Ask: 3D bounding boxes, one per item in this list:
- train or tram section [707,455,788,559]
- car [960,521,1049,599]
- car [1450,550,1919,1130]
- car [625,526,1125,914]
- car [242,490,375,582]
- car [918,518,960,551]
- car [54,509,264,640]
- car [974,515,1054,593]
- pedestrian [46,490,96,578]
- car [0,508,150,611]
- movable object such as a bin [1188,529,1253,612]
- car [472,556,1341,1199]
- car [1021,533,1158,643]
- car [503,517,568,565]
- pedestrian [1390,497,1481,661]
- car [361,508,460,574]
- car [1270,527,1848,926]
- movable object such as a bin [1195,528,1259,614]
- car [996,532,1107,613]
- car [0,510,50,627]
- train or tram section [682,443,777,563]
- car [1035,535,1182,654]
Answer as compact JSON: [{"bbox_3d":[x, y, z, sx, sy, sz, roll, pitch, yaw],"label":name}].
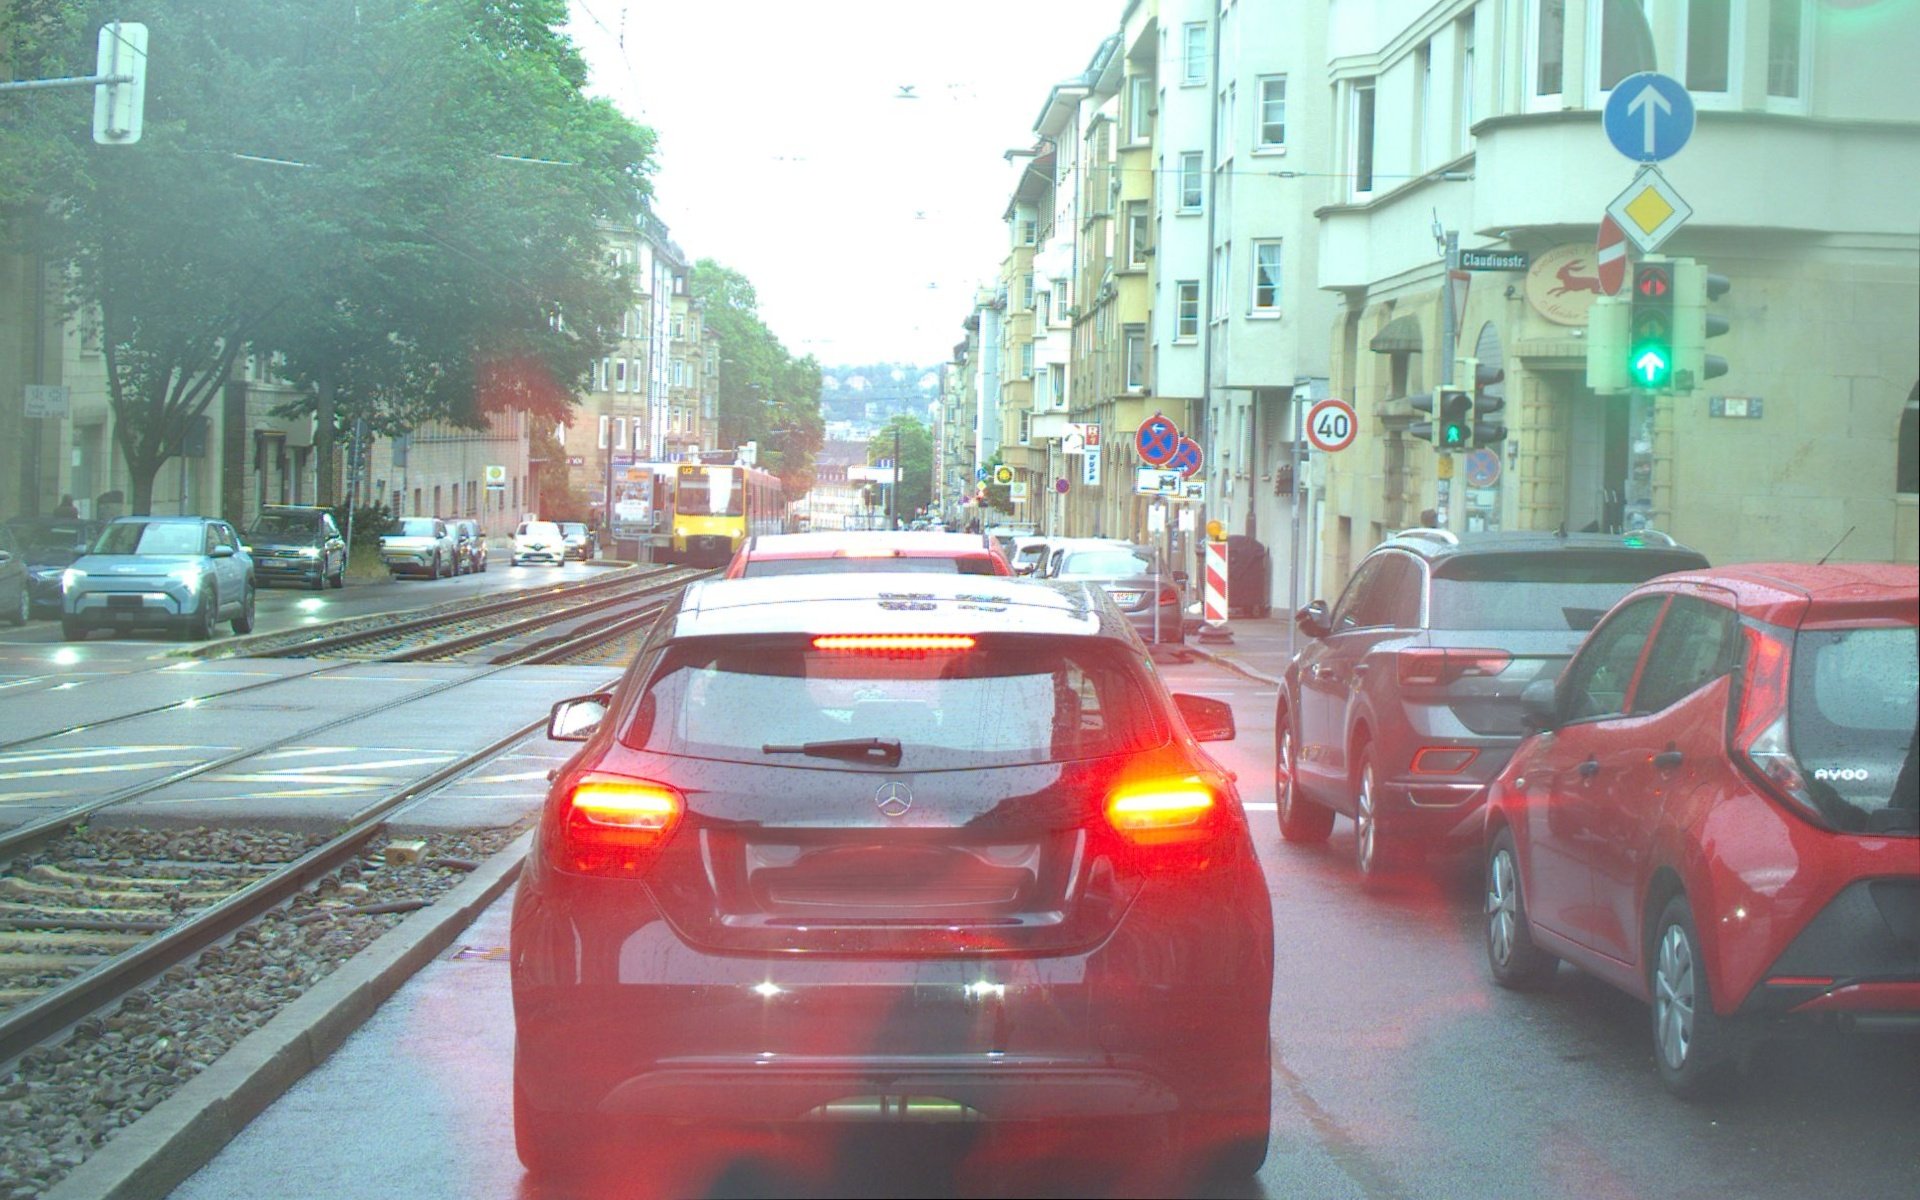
[{"bbox_3d":[-8.709,-3.835,142.240,2.745,4.048,15.663,1,1,-2],"label":"train or tram section"},{"bbox_3d":[0.988,-0.859,74.530,1.841,1.602,4.760,1,1,1],"label":"car"},{"bbox_3d":[2.717,0.604,10.520,1.705,1.448,3.533,2,1,-3],"label":"car"},{"bbox_3d":[-0.370,0.454,16.138,1.993,1.520,4.246,2,1,-1],"label":"car"},{"bbox_3d":[-13.621,-1.365,72.129,1.953,1.736,4.780,4,1,-2],"label":"car"},{"bbox_3d":[-1.028,-3.214,168.732,1.887,1.520,4.245,2,1,1],"label":"car"},{"bbox_3d":[-10.429,-0.338,45.049,1.921,1.612,4.129,1,1,-2],"label":"car"},{"bbox_3d":[1.251,-1.073,80.700,1.778,1.744,4.549,1,1,0],"label":"car"},{"bbox_3d":[-17.030,-1.274,65.886,0.728,1.657,0.771,2,1,-1],"label":"pedestrian"},{"bbox_3d":[-13.465,-0.603,51.256,1.780,1.455,4.979,1,1,-2],"label":"car"},{"bbox_3d":[4.639,-0.524,61.351,1.018,1.463,1.323,1,0,-1],"label":"movable object such as a bin"},{"bbox_3d":[-0.138,0.632,9.297,1.834,1.448,3.902,1,1,-1],"label":"car"},{"bbox_3d":[1.802,-0.188,48.996,1.712,1.463,4.774,1,1,-1],"label":"car"},{"bbox_3d":[-13.879,-1.915,112.611,1.780,1.497,4.063,1,1,-2],"label":"car"},{"bbox_3d":[4.954,-0.224,35.821,0.804,1.681,0.754,1,0,-1],"label":"pedestrian"},{"bbox_3d":[-14.258,-1.558,89.327,1.961,1.600,4.329,2,2,-2],"label":"car"},{"bbox_3d":[2.583,0.475,15.792,1.867,1.543,3.991,2,1,-1],"label":"car"},{"bbox_3d":[4.640,-0.509,59.790,0.980,1.463,1.273,1,0,-1],"label":"movable object such as a bin"},{"bbox_3d":[1.609,-0.497,61.949,1.789,1.381,4.395,1,1,-1],"label":"car"},{"bbox_3d":[-13.420,-0.431,45.701,1.689,1.524,4.176,1,1,-2],"label":"car"},{"bbox_3d":[-8.338,-3.526,126.005,2.745,4.048,17.216,1,1,-2],"label":"train or tram section"},{"bbox_3d":[1.836,-0.093,43.629,1.711,1.405,4.817,1,1,1],"label":"car"}]
